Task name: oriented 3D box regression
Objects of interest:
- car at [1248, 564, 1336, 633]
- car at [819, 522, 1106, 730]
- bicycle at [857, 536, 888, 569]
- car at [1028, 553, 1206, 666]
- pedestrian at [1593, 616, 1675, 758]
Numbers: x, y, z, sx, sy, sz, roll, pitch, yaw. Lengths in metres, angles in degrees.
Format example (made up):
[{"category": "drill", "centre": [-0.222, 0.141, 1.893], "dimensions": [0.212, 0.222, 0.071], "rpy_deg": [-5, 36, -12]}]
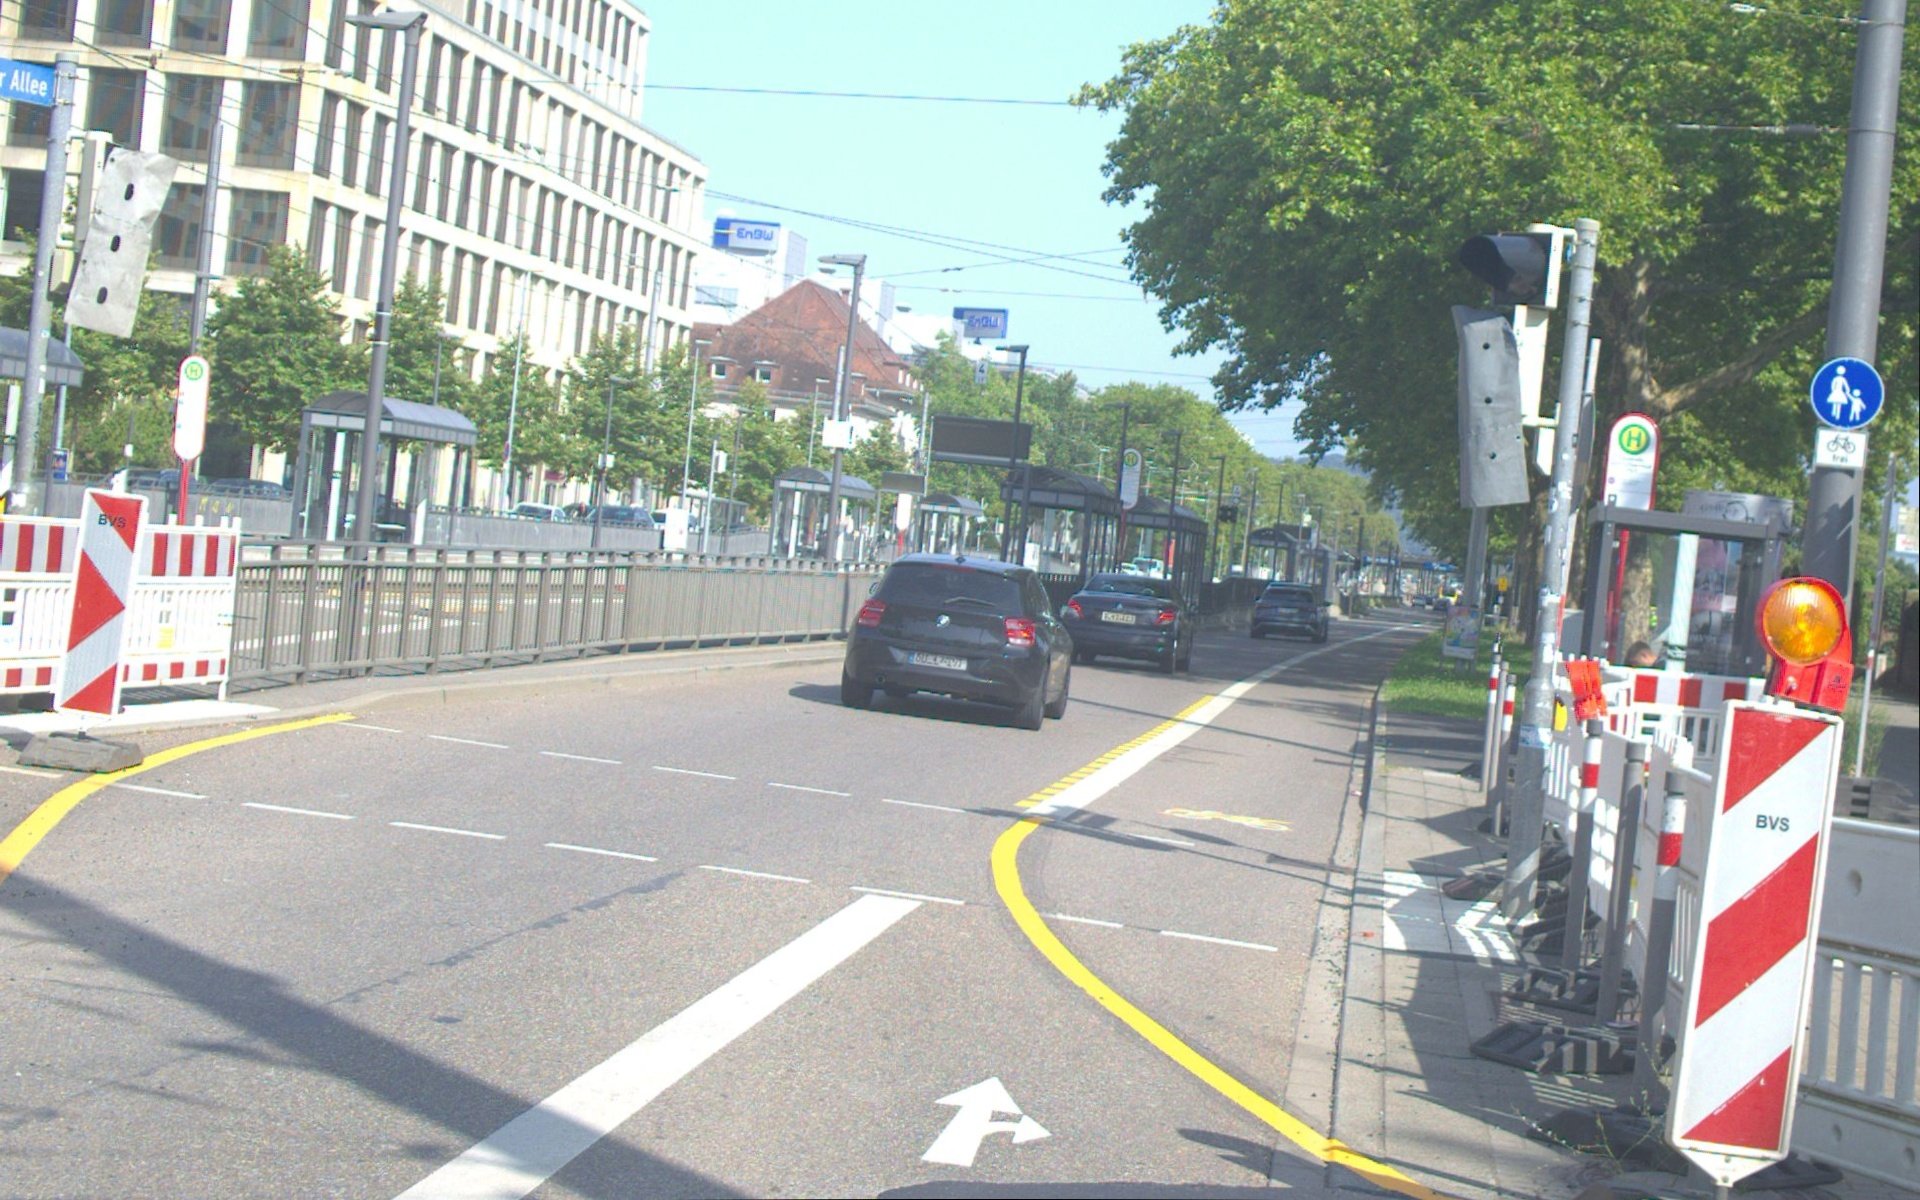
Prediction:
[{"category": "car", "centre": [8.412, -0.044, 86.821], "dimensions": [1.908, 1.532, 3.999], "rpy_deg": [6, 1, 8]}, {"category": "car", "centre": [0.100, 0.208, 31.222], "dimensions": [1.908, 1.532, 3.999], "rpy_deg": [8, 1, 8]}, {"category": "bicycle", "centre": [-3.257, -1.767, 128.161], "dimensions": [0.472, 1.143, 1.482], "rpy_deg": [6, 1, 23]}, {"category": "car", "centre": [2.388, 0.135, 51.225], "dimensions": [1.995, 1.436, 3.998], "rpy_deg": [6, 1, 11]}, {"category": "pedestrian", "centre": [6.350, 0.815, 32.414], "dimensions": [0.608, 1.273, 0.759], "rpy_deg": [4, 1, 6]}]
